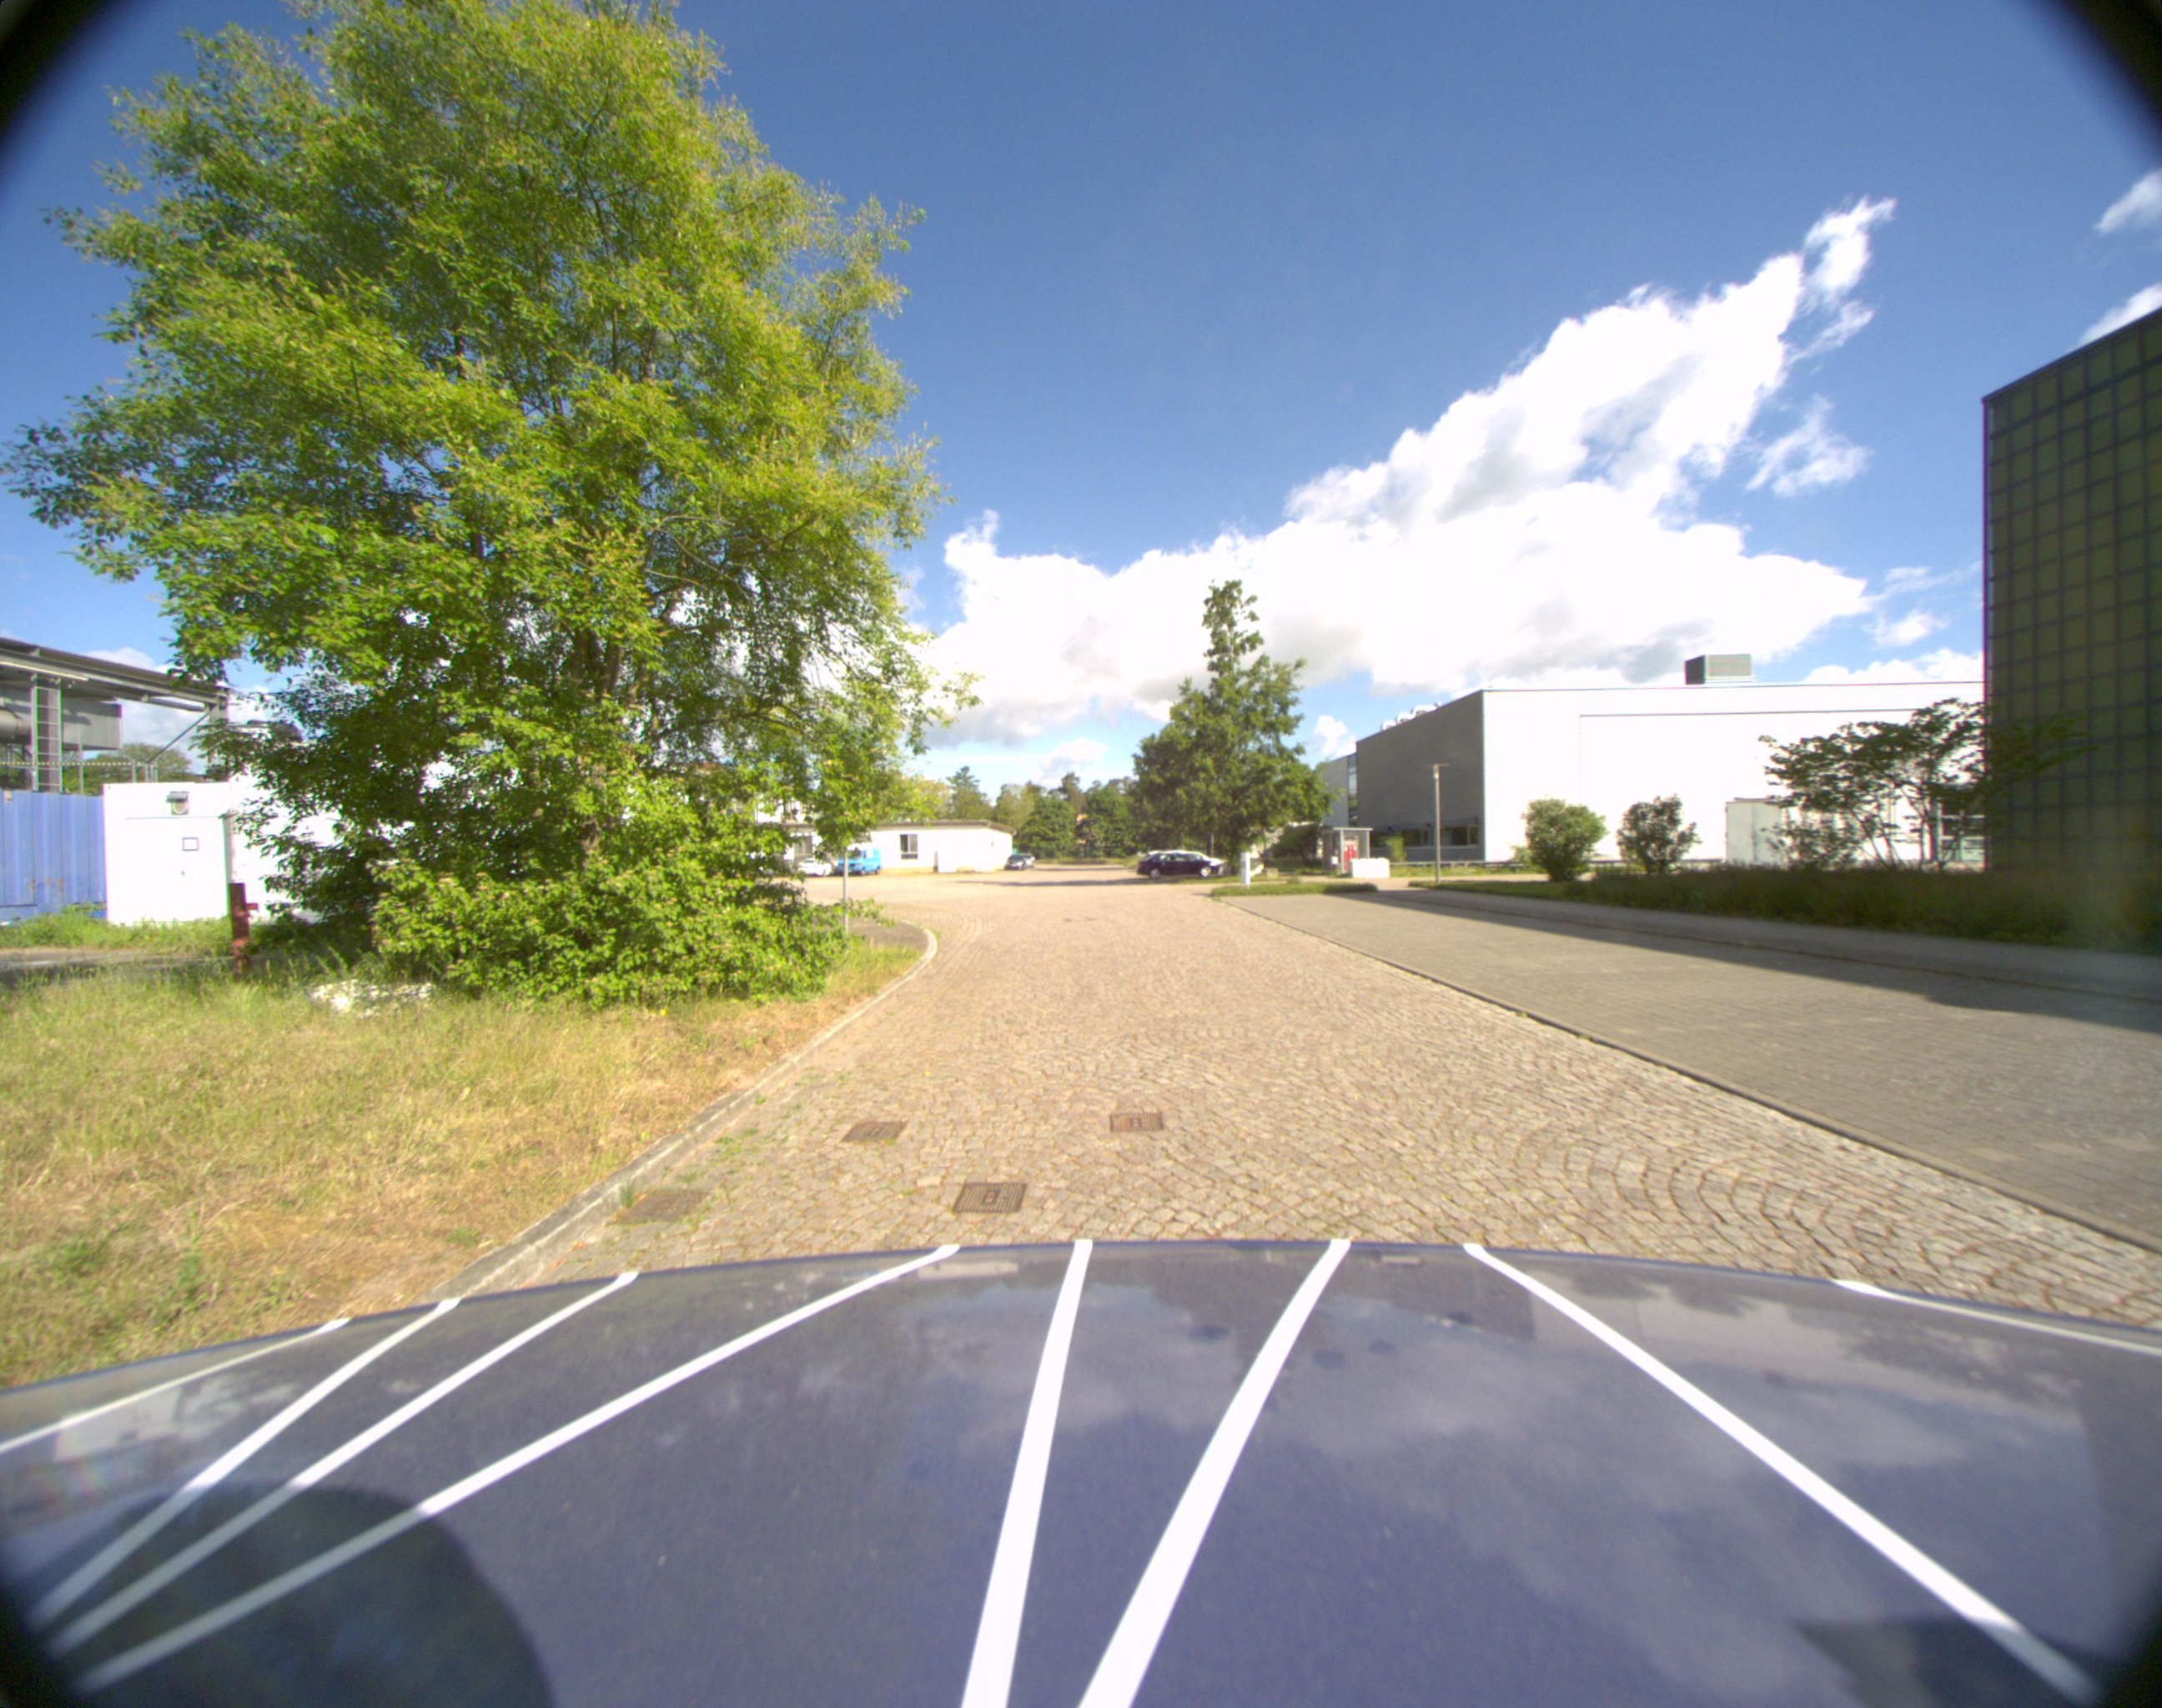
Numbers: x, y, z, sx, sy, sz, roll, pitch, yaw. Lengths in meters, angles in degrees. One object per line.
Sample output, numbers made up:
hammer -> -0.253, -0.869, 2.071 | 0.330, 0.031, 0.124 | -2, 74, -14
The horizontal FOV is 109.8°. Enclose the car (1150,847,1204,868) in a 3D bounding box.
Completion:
car -> 7.436, 0.234, 59.032 | 3.922, 1.427, 1.796 | -2, 1, 1

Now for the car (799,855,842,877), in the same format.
car -> -19.577, 0.888, 57.244 | 1.736, 1.398, 3.738 | -1, 2, 3

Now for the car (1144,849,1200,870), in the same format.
car -> 6.693, 0.402, 56.075 | 3.922, 1.409, 1.692 | -2, 1, 1

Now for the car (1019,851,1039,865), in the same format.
car -> -5.494, 0.381, 80.328 | 1.691, 1.427, 3.987 | 0, 0, 1

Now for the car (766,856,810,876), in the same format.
car -> -22.370, 0.895, 58.233 | 1.691, 1.390, 3.832 | 0, 0, 3

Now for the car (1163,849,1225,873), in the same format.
car -> 7.564, 0.477, 51.115 | 3.922, 1.438, 1.756 | -2, 1, 1

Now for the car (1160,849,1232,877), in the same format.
car -> 6.882, 0.519, 45.783 | 4.146, 1.451, 1.692 | -2, 1, 6

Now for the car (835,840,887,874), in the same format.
car -> -16.779, 0.226, 58.296 | 2.087, 2.469, 5.240 | -1, 0, 4

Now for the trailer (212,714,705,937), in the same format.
trailer -> -13.718, -0.520, 18.882 | 2.778, 3.888, 10.887 | -1, 0, 3

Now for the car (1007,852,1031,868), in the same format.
car -> -5.708, 0.516, 69.871 | 1.768, 1.427, 3.992 | 0, 0, 1

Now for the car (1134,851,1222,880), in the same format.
car -> 5.471, 0.621, 43.149 | 4.731, 1.415, 1.757 | -2, 1, 0
